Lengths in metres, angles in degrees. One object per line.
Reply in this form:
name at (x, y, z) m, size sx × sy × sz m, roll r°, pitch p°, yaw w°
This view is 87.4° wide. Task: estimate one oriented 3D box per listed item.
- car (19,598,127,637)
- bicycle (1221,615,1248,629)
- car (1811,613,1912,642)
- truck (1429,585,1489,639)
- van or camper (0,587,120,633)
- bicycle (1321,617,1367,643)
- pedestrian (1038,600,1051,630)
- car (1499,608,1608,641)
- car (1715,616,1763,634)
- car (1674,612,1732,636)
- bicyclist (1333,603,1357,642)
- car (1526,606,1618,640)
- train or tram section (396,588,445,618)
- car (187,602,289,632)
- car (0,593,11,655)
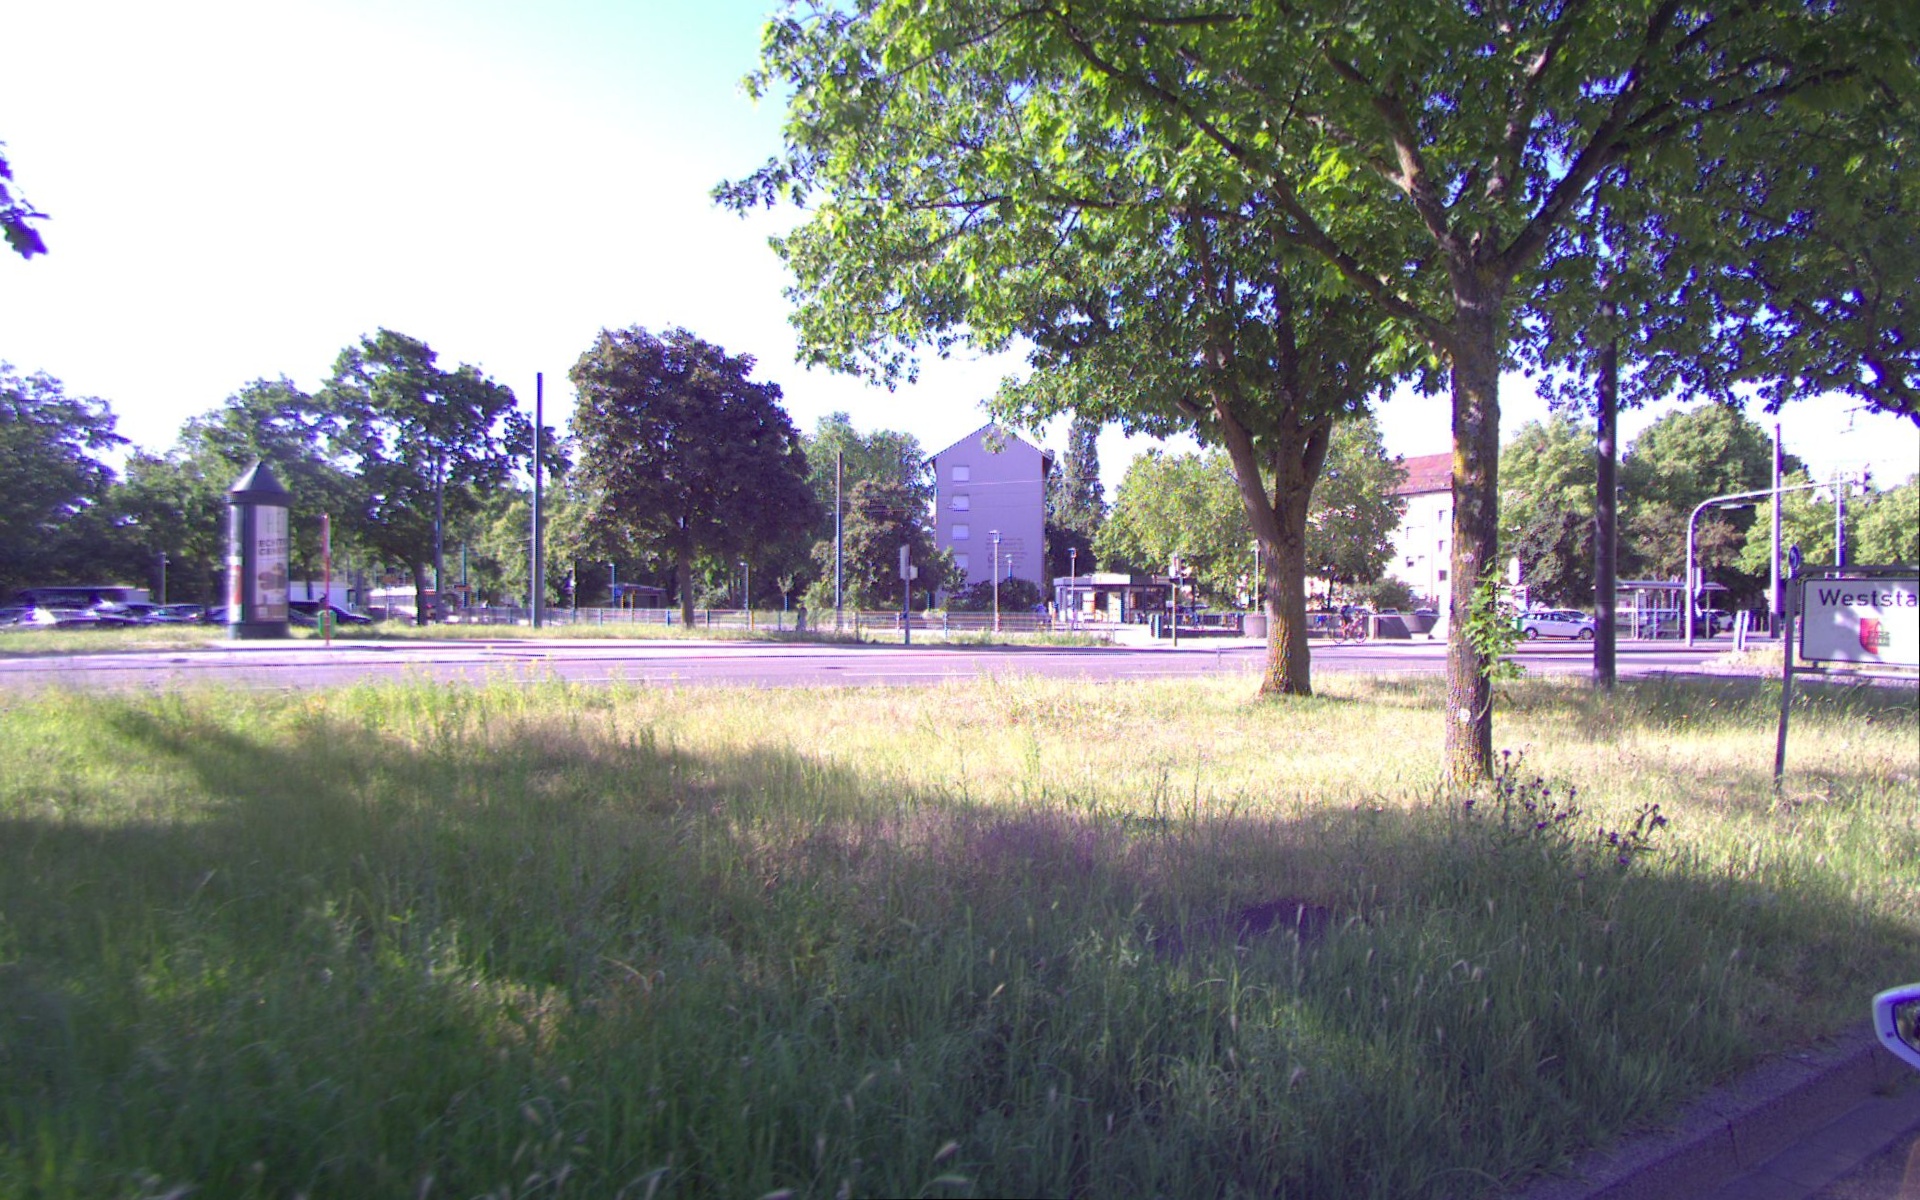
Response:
car at (-31.905, 0.592, 36.105) m, size 3.932 × 1.299 × 1.994 m, roll 1°, pitch 0°, yaw 34°
bicycle at (17.244, 1.407, 63.093) m, size 1.652 × 0.850 × 0.548 m, roll 0°, pitch 0°, yaw 17°
car at (50.830, 1.522, 56.669) m, size 1.981 × 1.593 × 3.958 m, roll 1°, pitch -1°, yaw -37°
truck at (29.505, 0.661, 59.527) m, size 1.959 × 3.035 × 4.831 m, roll 0°, pitch 0°, yaw 12°
van or camper at (-43.092, 0.472, 47.811) m, size 4.327 × 2.124 × 1.994 m, roll 0°, pitch 0°, yaw -15°
bicycle at (15.492, 1.193, 40.538) m, size 1.629 × 1.015 × 0.613 m, roll 0°, pitch 1°, yaw -11°
pedestrian at (5.335, 0.945, 63.553) m, size 0.714 × 1.854 × 0.558 m, roll 1°, pitch 0°, yaw -10°
car at (30.809, 1.254, 52.272) m, size 4.457 × 1.565 × 1.873 m, roll 1°, pitch 3°, yaw 13°
car at (57.882, 1.833, 74.639) m, size 3.660 × 1.310 × 1.586 m, roll 0°, pitch 0°, yaw -31°
car at (53.187, 1.697, 71.867) m, size 4.173 × 1.639 × 1.753 m, roll 0°, pitch 1°, yaw -28°
bicyclist at (15.533, 0.914, 40.541) m, size 0.664 × 1.551 × 0.613 m, roll 0°, pitch 1°, yaw -11°
car at (33.178, 1.235, 54.526) m, size 3.923 × 1.741 × 1.762 m, roll 0°, pitch 3°, yaw -4°
train or tram section at (-58.492, 0.283, 108.604) m, size 2.445 × 2.979 × 19.648 m, roll 1°, pitch 0°, yaw -35°
car at (-35.818, 0.844, 49.890) m, size 3.970 × 1.433 × 1.750 m, roll 1°, pitch 0°, yaw -42°
car at (-34.089, 0.779, 33.733) m, size 4.916 × 2.040 × 2.233 m, roll 0°, pitch 0°, yaw 34°
